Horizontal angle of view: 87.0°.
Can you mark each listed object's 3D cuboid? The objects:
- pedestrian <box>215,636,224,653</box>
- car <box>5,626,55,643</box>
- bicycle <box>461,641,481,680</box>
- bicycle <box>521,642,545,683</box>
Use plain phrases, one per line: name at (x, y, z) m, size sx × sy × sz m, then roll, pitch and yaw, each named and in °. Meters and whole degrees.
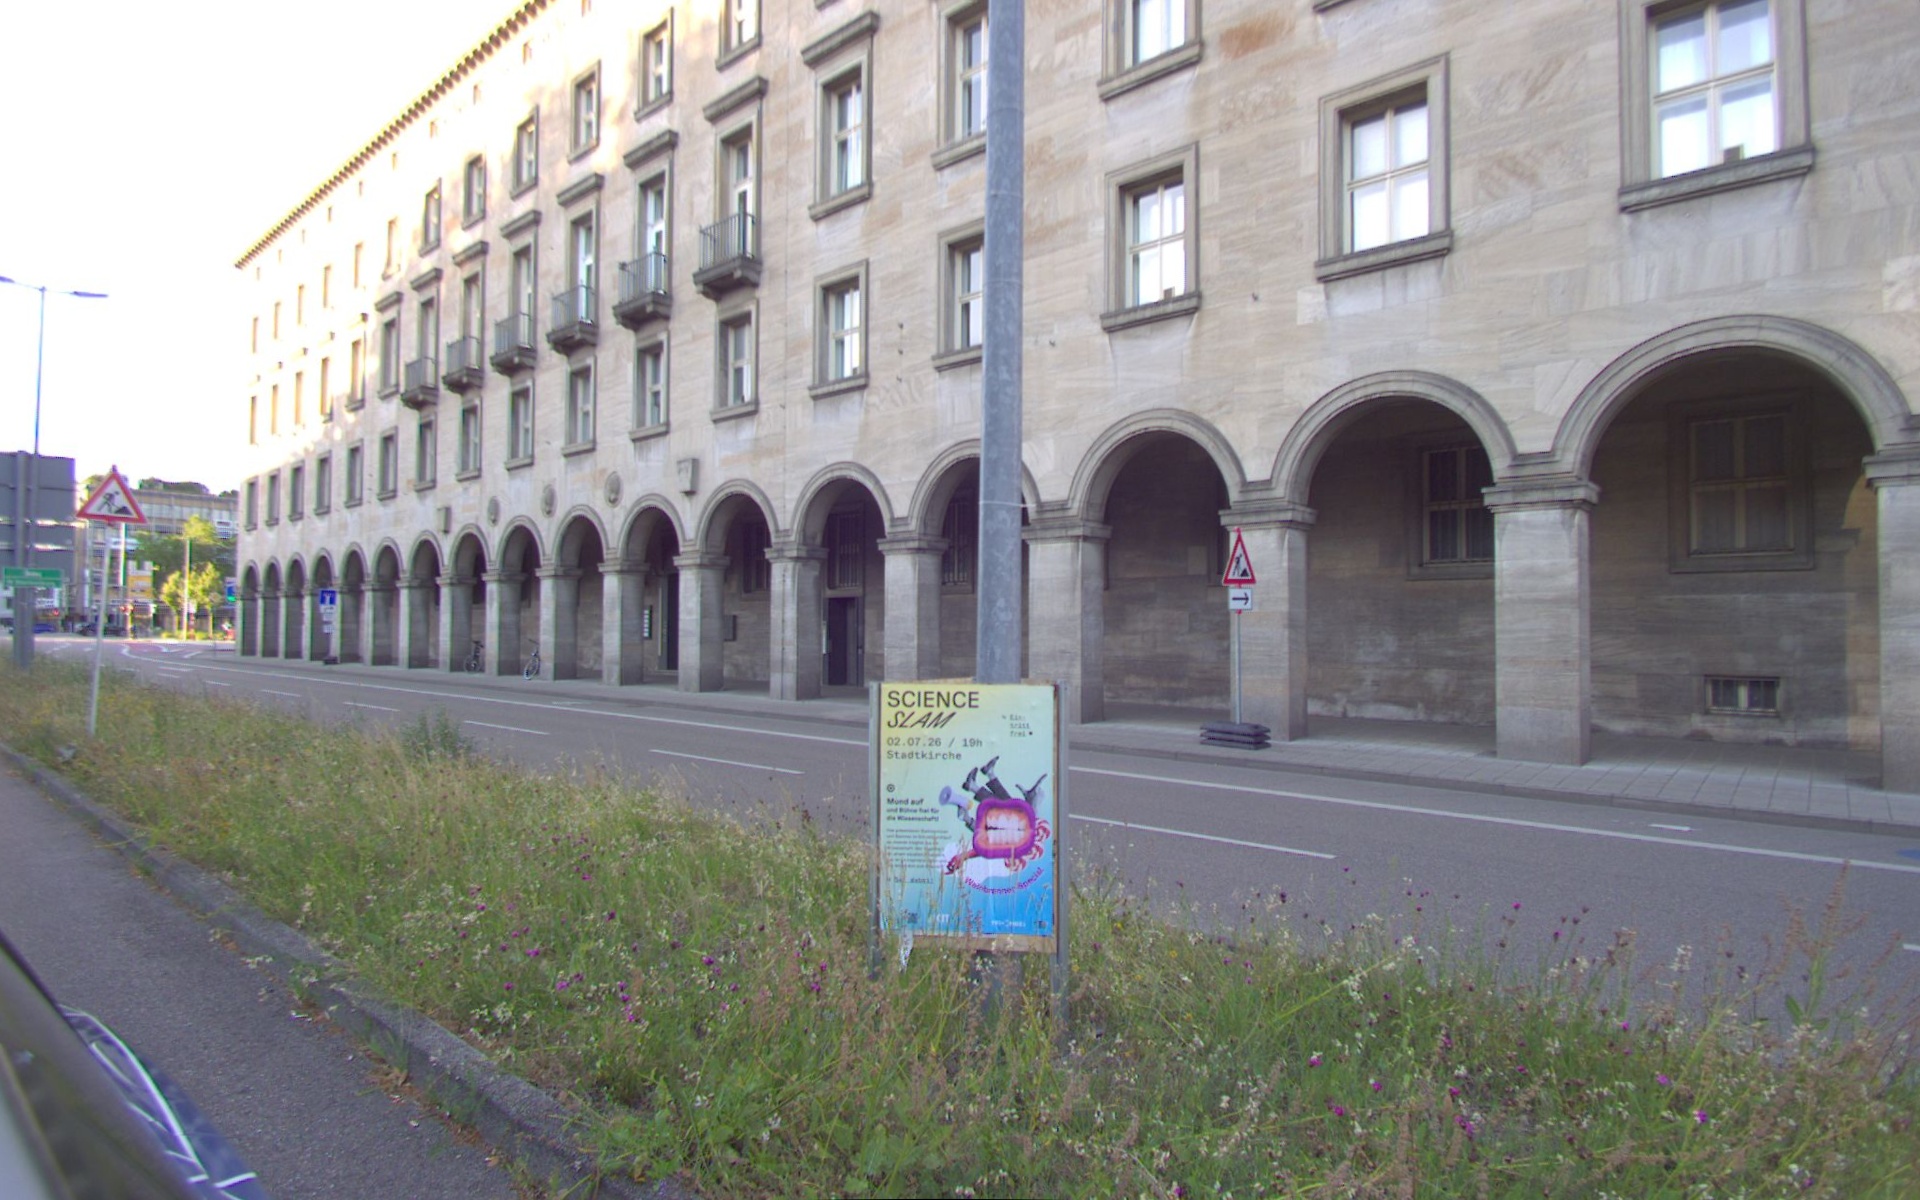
pedestrian at (-67.682, 4.026, 92.529) m, size 0.389 × 1.553 × 0.519 m, roll -2°, pitch -3°, yaw 41°
car at (-114.541, 4.242, 124.611) m, size 2.000 × 2.029 × 4.378 m, roll -2°, pitch -3°, yaw 43°
bicycle at (-15.476, 1.893, 32.028) m, size 0.505 × 1.188 × 2.431 m, roll 1°, pitch -2°, yaw -25°
bicycle at (-12.797, 1.853, 30.371) m, size 0.505 × 1.130 × 2.431 m, roll 1°, pitch -1°, yaw -20°
